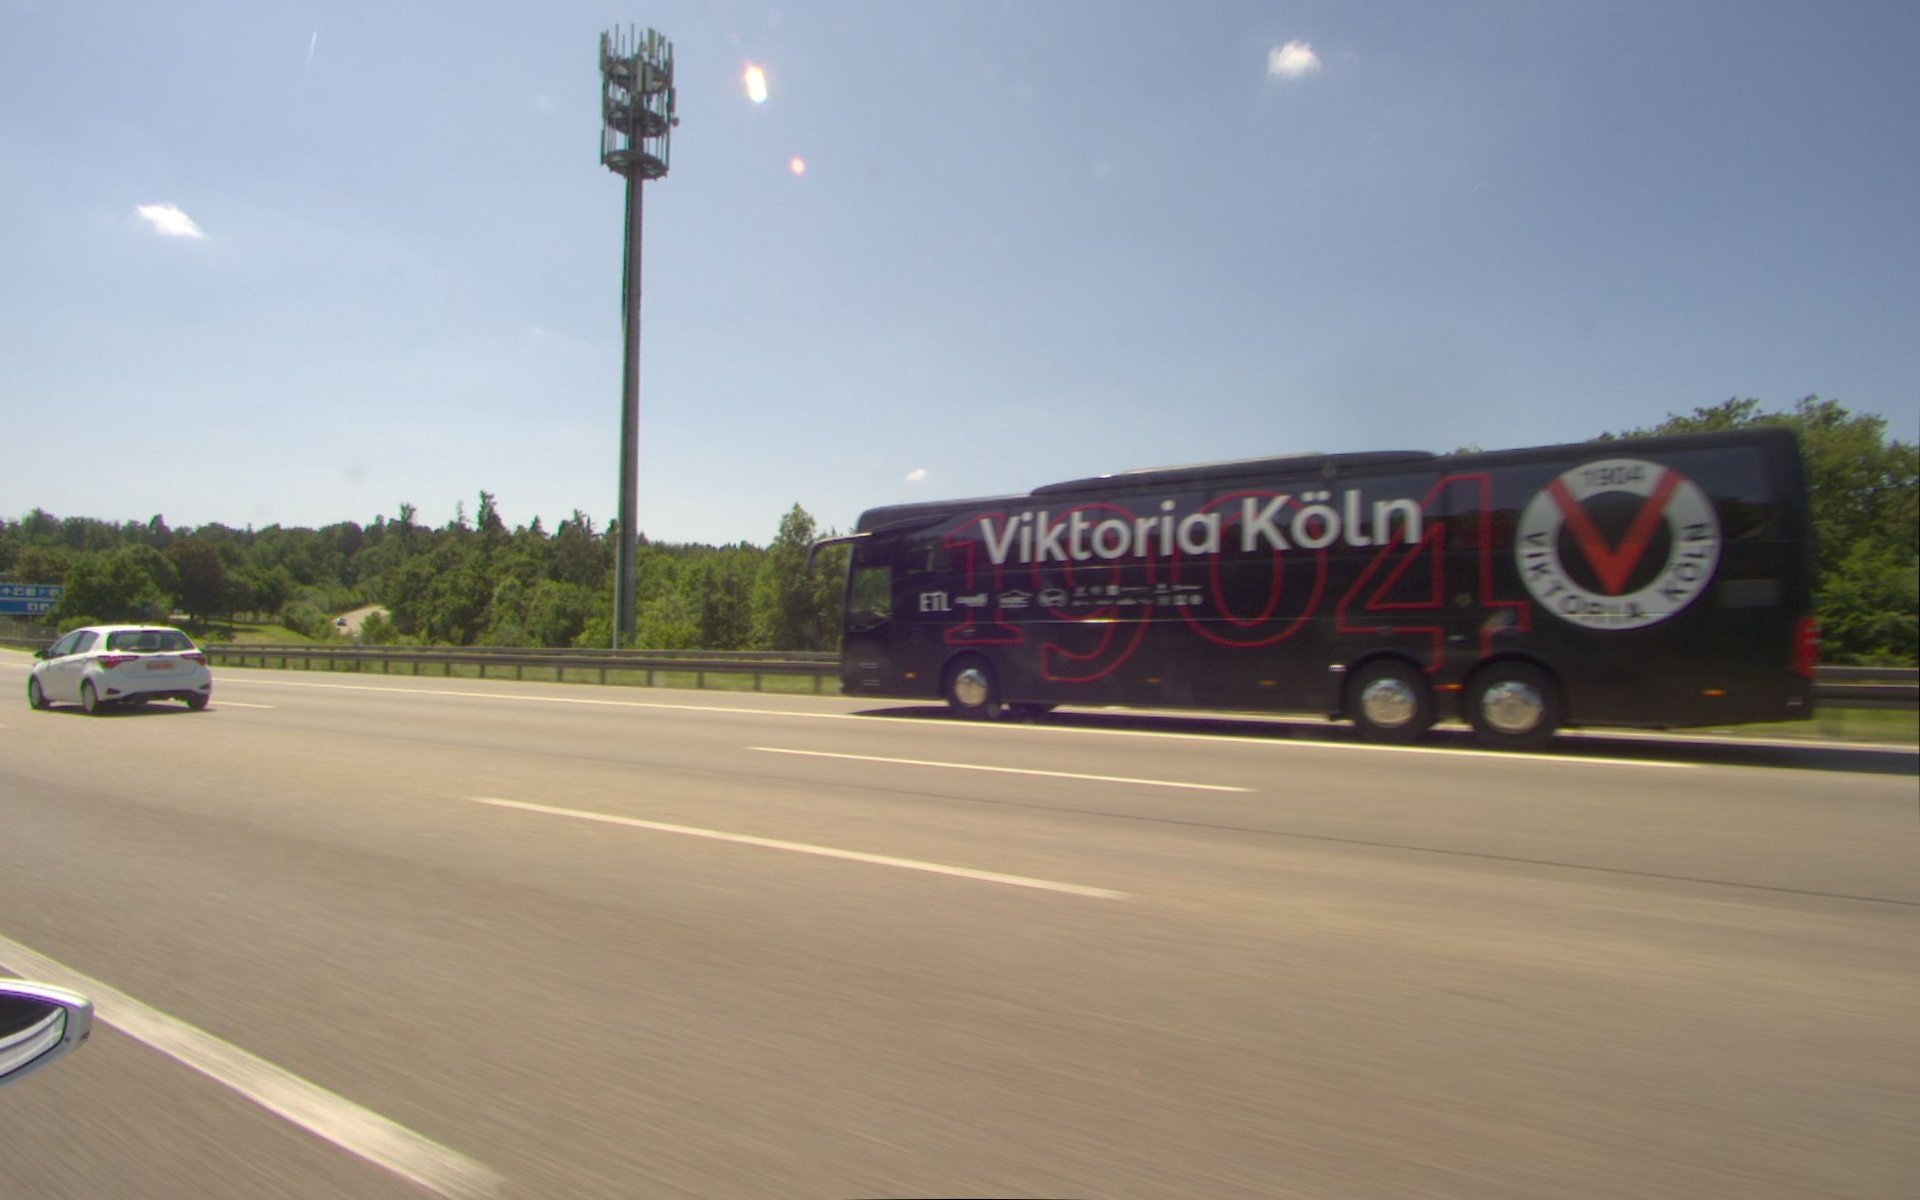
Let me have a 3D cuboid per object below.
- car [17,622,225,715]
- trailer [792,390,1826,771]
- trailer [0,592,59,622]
[{"bbox_3d":[-15.216,1.159,18.101,4.314,1.453,1.662,-1,1,33],"label":"car"},{"bbox_3d":[3.551,-0.036,14.581,13.348,3.734,2.853,-1,-2,32],"label":"trailer"},{"bbox_3d":[-122.539,0.840,130.889,3.119,3.686,13.565,1,0,-25],"label":"trailer"}]
